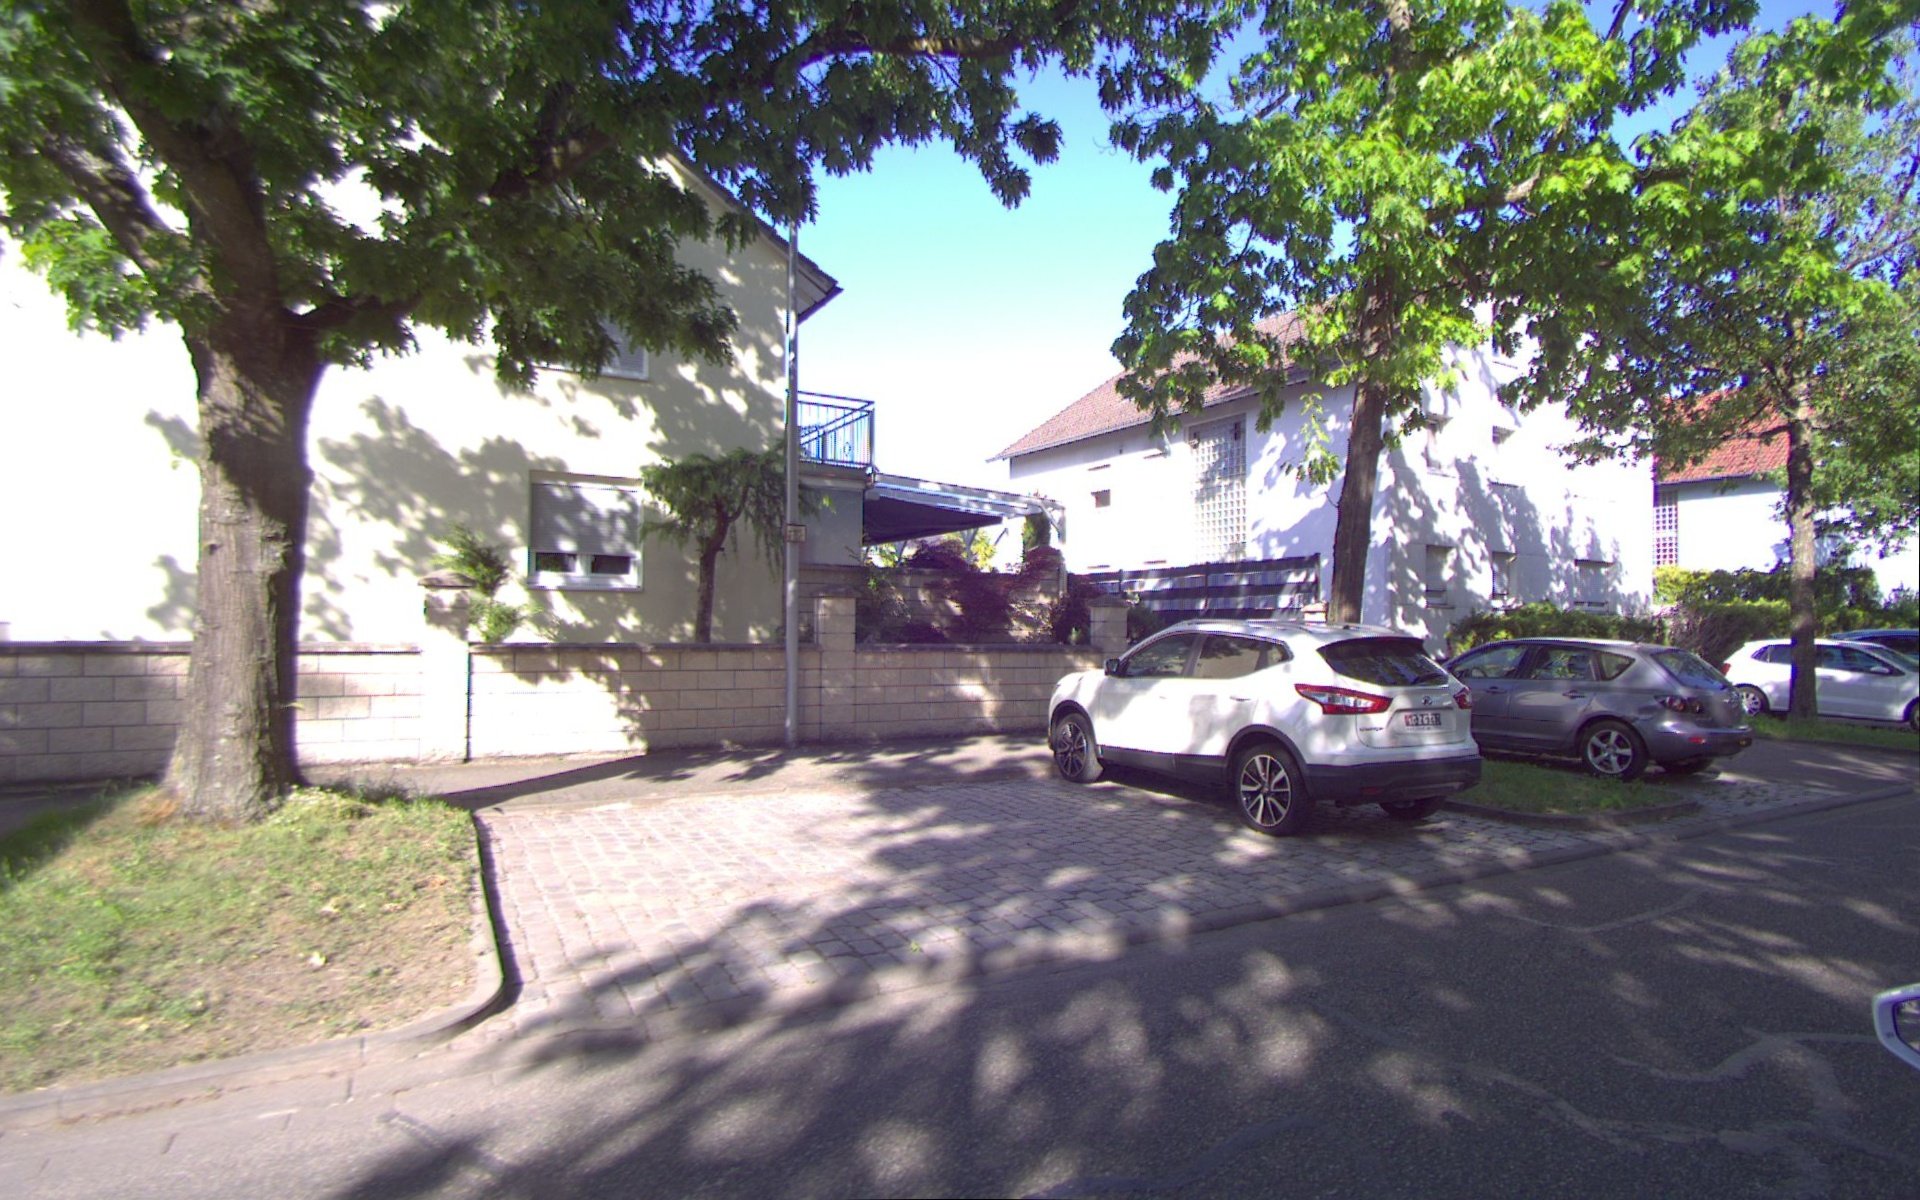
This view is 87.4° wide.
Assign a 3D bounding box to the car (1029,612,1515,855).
[{"bbox_3d":[2.478,0.944,9.077,1.769,1.588,4.170,1,0,-28],"label":"car"}]

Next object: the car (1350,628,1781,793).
[{"bbox_3d":[6.907,1.139,11.907,1.789,1.442,4.013,1,0,-31],"label":"car"}]

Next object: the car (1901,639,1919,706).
[{"bbox_3d":[23.228,1.621,21.543,1.627,1.511,4.164,2,-3,-29],"label":"car"}]

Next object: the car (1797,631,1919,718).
[{"bbox_3d":[19.147,1.432,19.183,1.914,1.652,4.504,2,-3,-29],"label":"car"}]

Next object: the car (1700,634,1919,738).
[{"bbox_3d":[15.268,1.410,17.047,1.835,1.616,3.969,2,-3,-29],"label":"car"}]
